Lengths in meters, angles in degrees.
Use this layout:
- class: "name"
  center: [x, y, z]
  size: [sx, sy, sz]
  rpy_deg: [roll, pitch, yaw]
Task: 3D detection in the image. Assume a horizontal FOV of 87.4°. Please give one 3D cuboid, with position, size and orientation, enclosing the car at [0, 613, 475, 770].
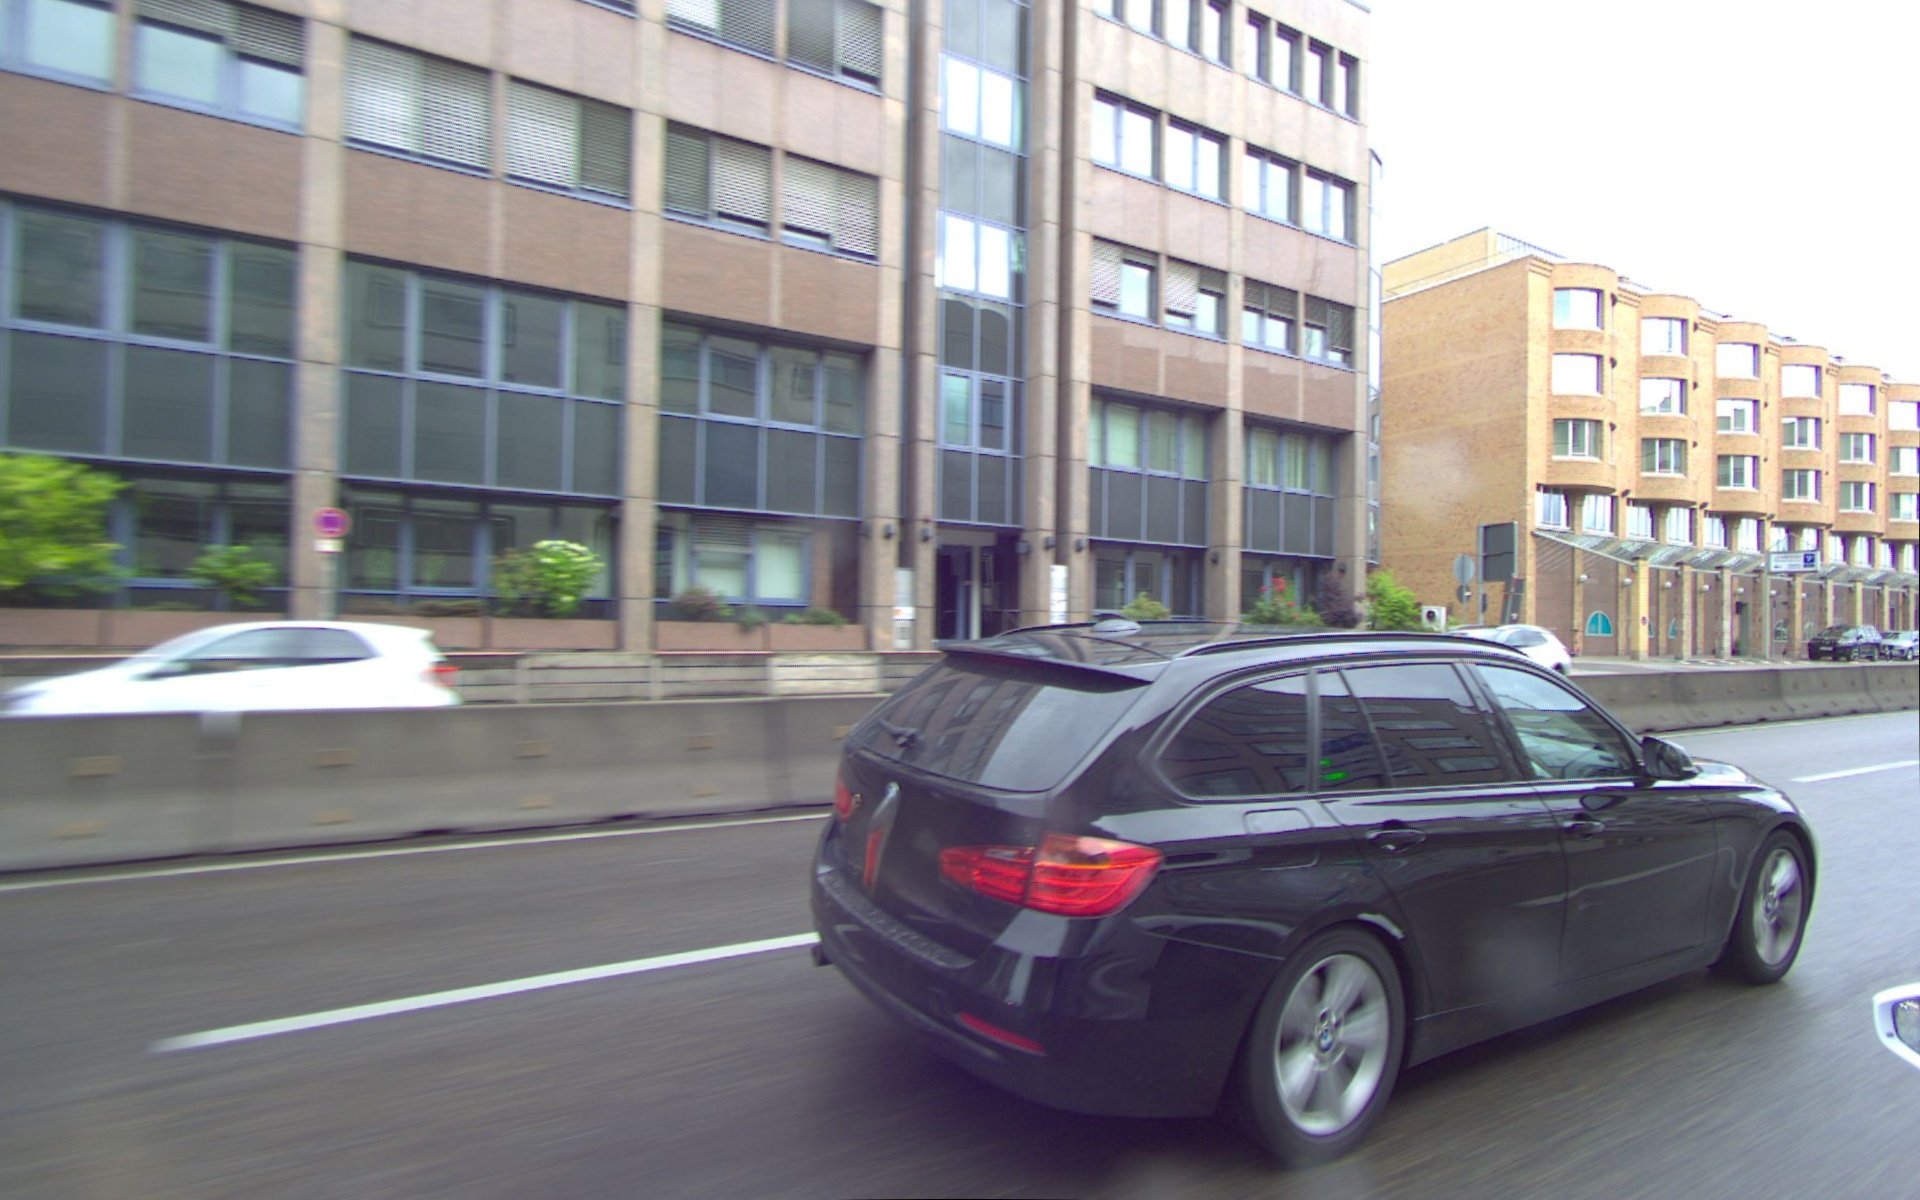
- class: "car"
  center: [-7.018, 0.822, 10.192]
  size: [3.653, 1.337, 1.711]
  rpy_deg: [1, -1, -30]

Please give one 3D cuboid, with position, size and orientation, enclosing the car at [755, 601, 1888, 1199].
- class: "car"
  center: [1.682, 0.789, 4.028]
  size: [4.602, 1.462, 1.759]
  rpy_deg: [1, -1, -30]

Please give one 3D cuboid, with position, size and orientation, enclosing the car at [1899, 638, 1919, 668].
- class: "car"
  center: [57.584, 3.104, 59.326]
  size: [4.994, 1.713, 1.982]
  rpy_deg: [1, -1, -33]

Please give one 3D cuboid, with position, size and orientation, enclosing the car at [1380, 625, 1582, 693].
- class: "car"
  center: [11.051, 1.195, 21.211]
  size: [4.500, 1.286, 1.834]
  rpy_deg: [1, -1, -33]

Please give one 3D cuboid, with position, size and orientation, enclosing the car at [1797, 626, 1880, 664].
- class: "car"
  center: [46.654, 2.339, 53.326]
  size: [4.958, 1.911, 1.983]
  rpy_deg: [1, -1, -32]

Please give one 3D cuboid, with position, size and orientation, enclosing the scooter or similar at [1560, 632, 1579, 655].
- class: "scooter or similar"
  center: [28.430, 2.020, 46.843]
  size: [1.037, 1.077, 0.445]
  rpy_deg: [1, -1, -41]

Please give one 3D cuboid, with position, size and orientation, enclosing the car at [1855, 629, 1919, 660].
- class: "car"
  center: [52.640, 2.491, 56.724]
  size: [4.489, 1.615, 1.983]
  rpy_deg: [1, -1, -32]
